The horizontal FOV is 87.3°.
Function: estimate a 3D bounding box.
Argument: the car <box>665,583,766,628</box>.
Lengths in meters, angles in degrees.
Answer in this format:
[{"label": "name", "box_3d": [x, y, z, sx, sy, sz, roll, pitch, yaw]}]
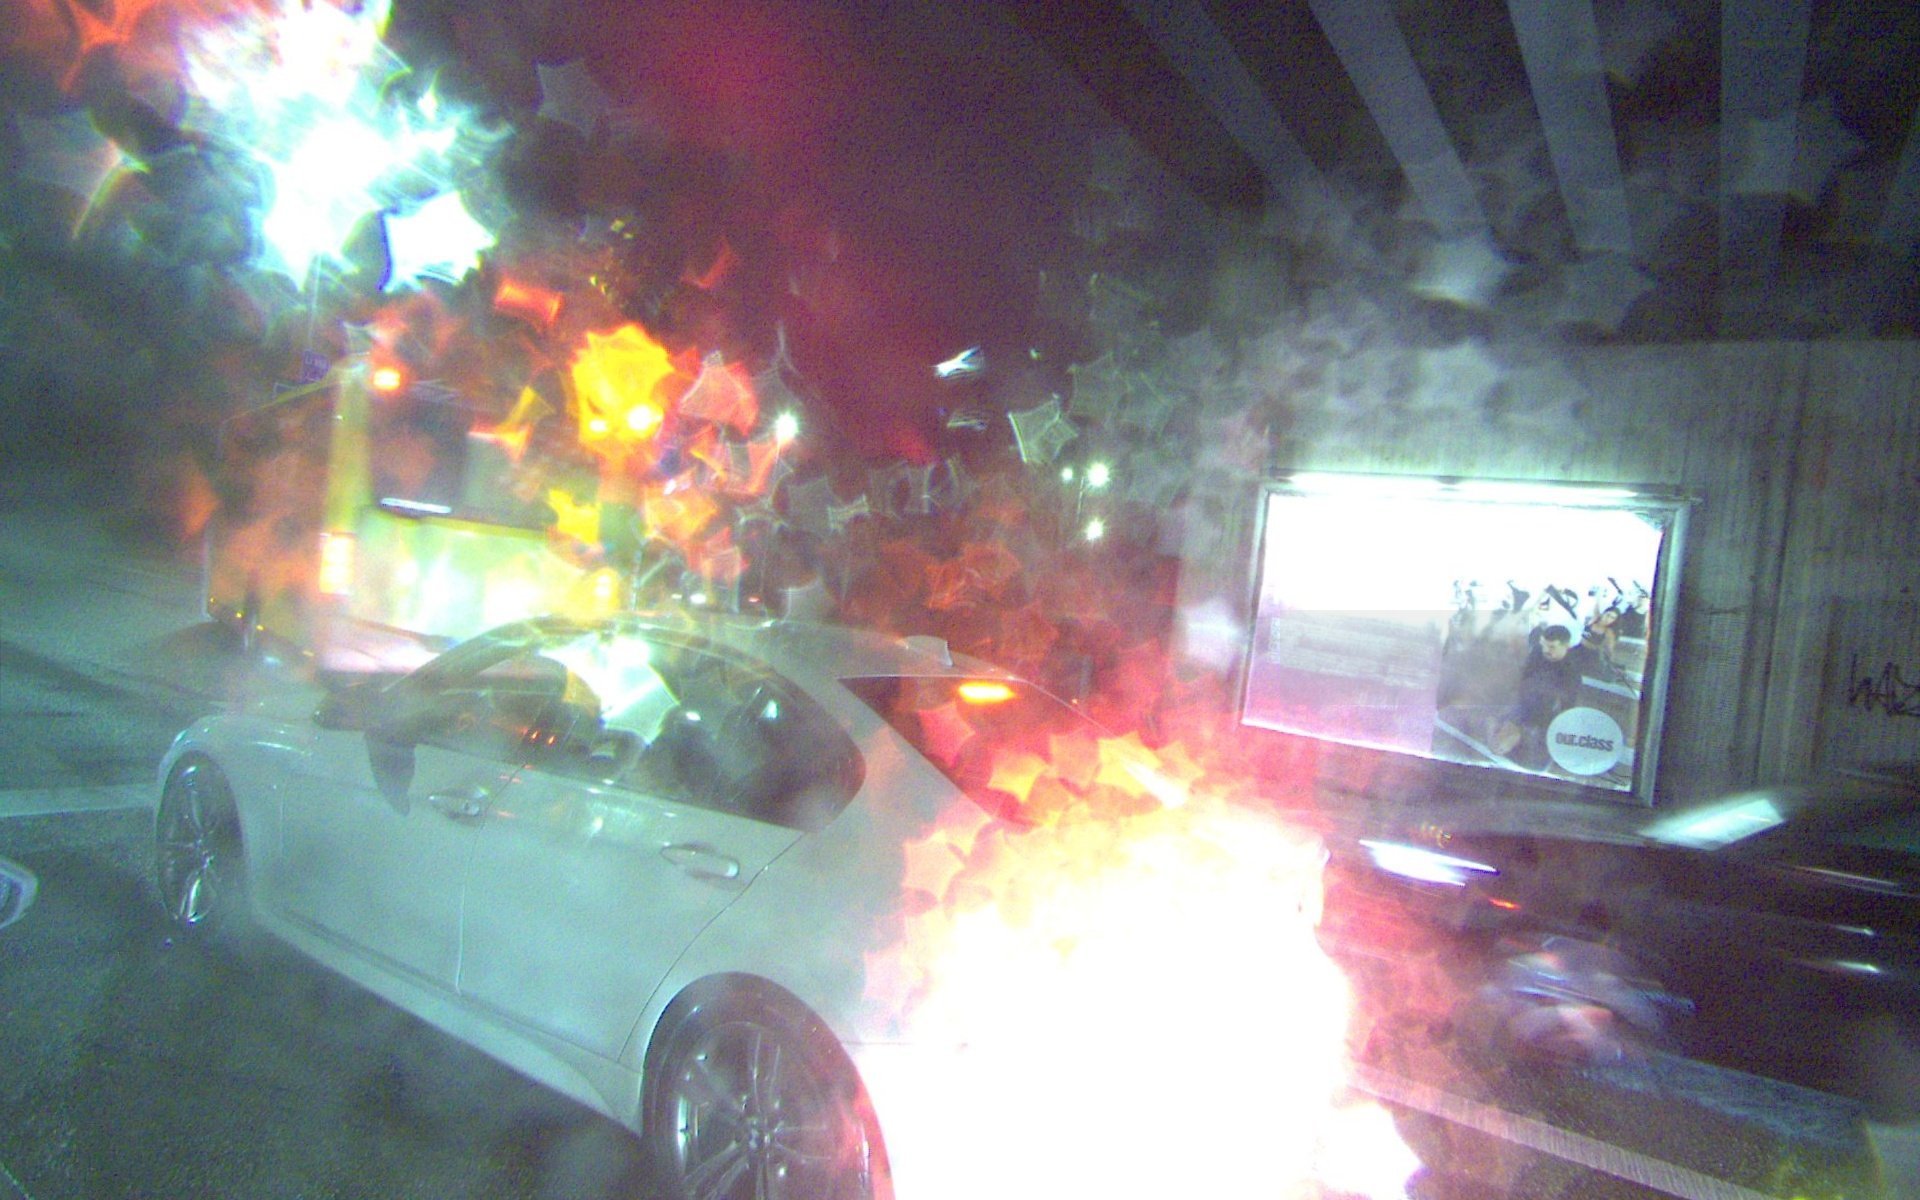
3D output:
[{"label": "car", "box_3d": [-11.192, 0.289, 46.280, 1.771, 1.504, 4.138, 6, -3, 41]}]

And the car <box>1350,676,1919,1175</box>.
[{"label": "car", "box_3d": [4.193, 1.384, 4.143, 4.548, 1.495, 1.843, 6, -2, 27]}]

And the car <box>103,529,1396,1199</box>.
[{"label": "car", "box_3d": [-0.979, 0.713, 3.500, 4.277, 1.420, 1.720, 6, -2, 32]}]

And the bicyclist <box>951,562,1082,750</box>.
[{"label": "bicyclist", "box_3d": [0.592, 0.579, 10.396, 0.886, 1.783, 0.798, 6, -1, 32]}]

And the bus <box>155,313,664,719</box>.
[{"label": "bus", "box_3d": [-7.440, -0.918, 12.442, 2.763, 3.160, 9.639, 9, -2, -44]}]

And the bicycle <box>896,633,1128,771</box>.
[{"label": "bicycle", "box_3d": [0.509, 1.020, 10.386, 2.171, 1.070, 0.798, 6, -2, 32]}]
